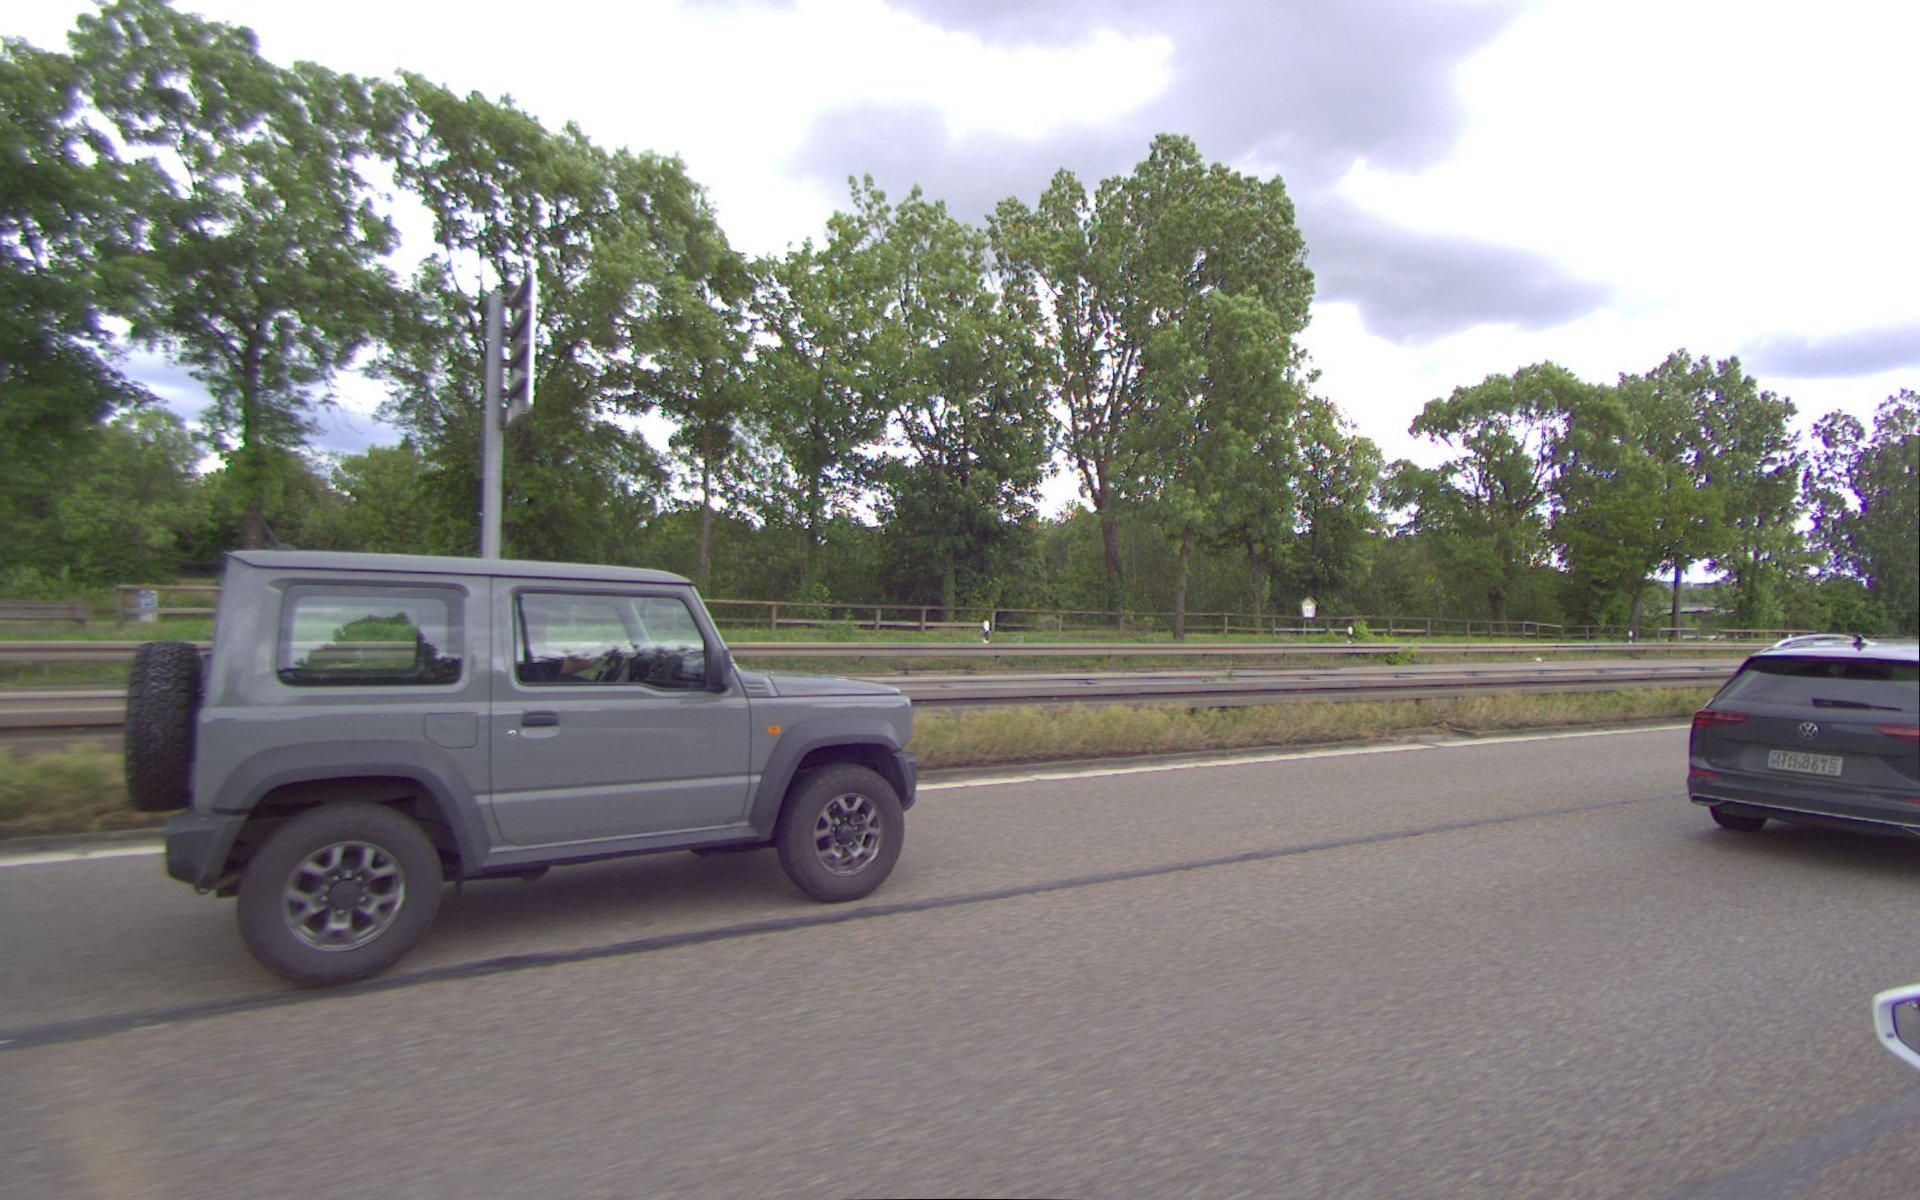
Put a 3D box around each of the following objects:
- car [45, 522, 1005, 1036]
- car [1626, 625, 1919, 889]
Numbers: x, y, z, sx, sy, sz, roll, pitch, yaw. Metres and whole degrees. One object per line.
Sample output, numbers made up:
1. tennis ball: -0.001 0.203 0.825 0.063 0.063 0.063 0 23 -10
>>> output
1. car: -1.849 0.653 5.168 3.958 1.708 1.687 1 -2 -34
2. car: 7.301 0.976 7.563 4.842 1.442 1.836 1 1 -30
